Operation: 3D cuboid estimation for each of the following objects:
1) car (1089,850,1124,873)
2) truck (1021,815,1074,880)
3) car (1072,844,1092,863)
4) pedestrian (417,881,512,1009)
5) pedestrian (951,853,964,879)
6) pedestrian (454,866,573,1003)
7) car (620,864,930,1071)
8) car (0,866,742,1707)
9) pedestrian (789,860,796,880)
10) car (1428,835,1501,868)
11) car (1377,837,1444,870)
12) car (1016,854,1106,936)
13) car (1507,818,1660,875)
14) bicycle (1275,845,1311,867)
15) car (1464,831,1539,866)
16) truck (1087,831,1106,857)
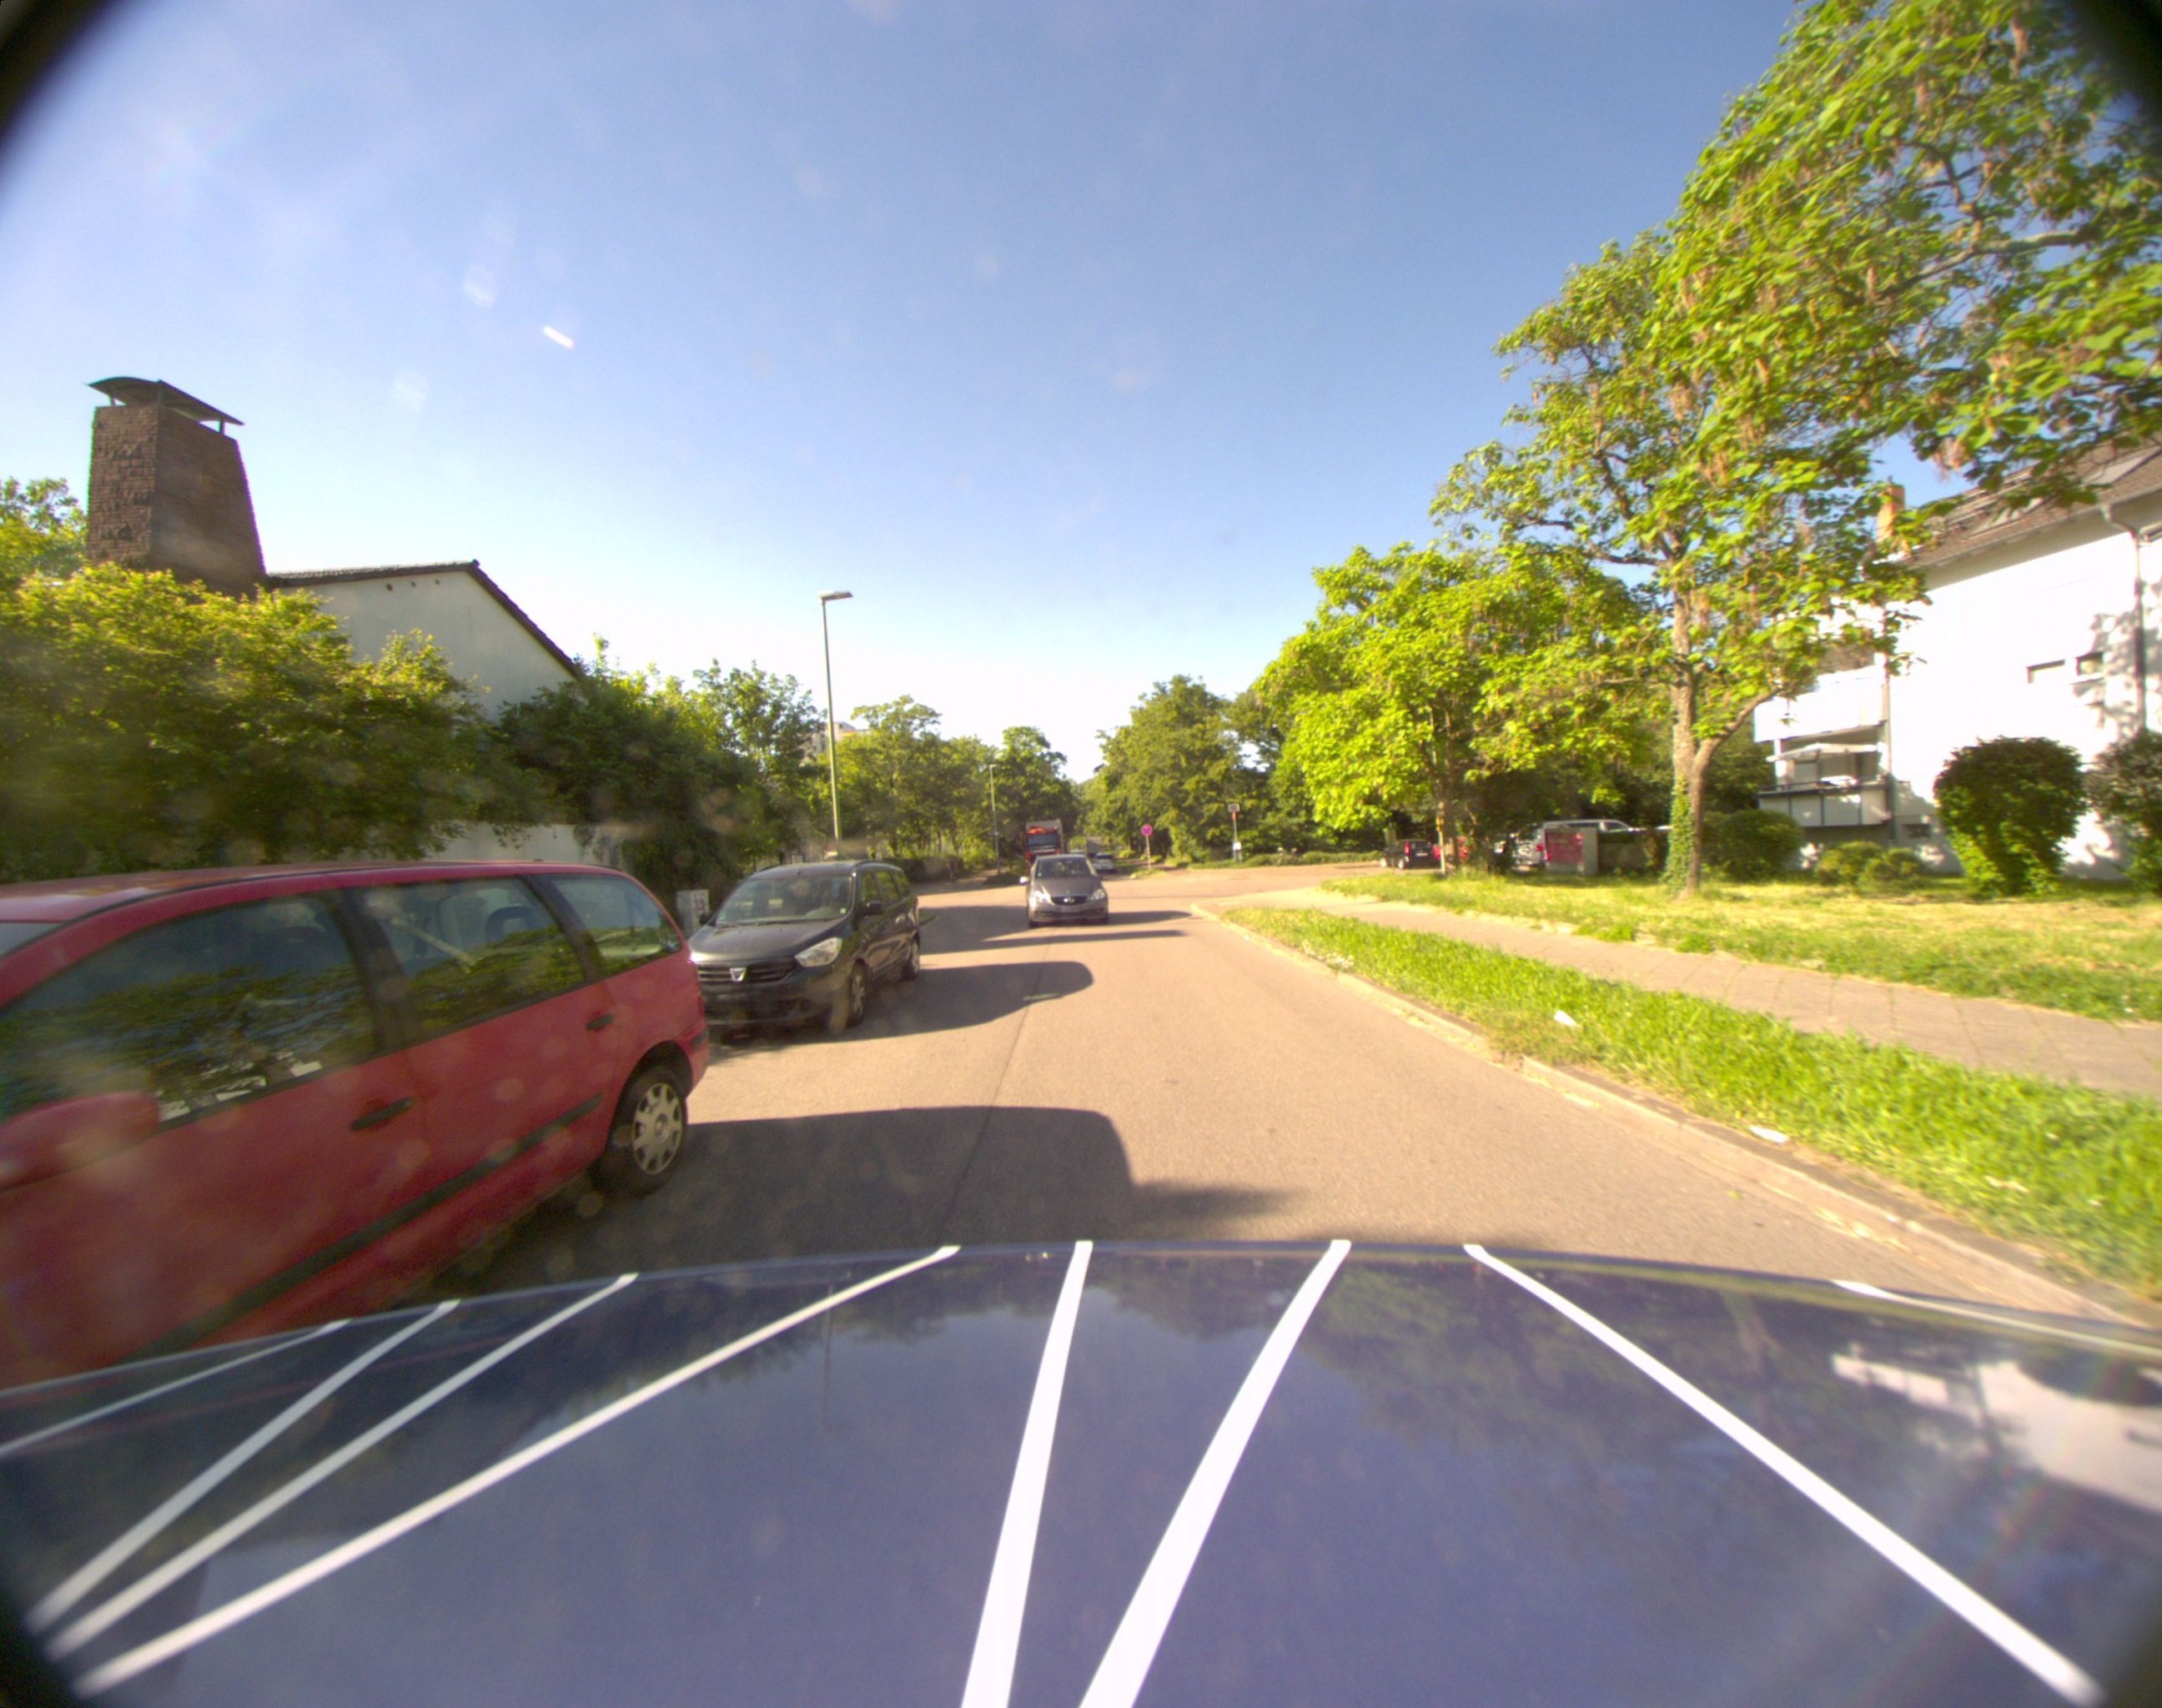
[{"bbox_3d":[1.797,0.516,54.219,1.667,1.458,4.184,-2,2,-9],"label":"car"},{"bbox_3d":[-2.320,-0.500,57.406,3.166,4.320,10.582,-3,1,1],"label":"truck"},{"bbox_3d":[0.054,-0.038,76.775,1.845,1.795,4.028,-3,1,-1],"label":"car"},{"bbox_3d":[-8.287,1.200,10.244,0.574,1.600,0.792,-1,2,-3],"label":"pedestrian"},{"bbox_3d":[-8.154,0.786,50.081,0.641,1.629,0.641,-3,1,3],"label":"pedestrian"},{"bbox_3d":[-7.579,1.038,10.209,0.806,1.707,0.983,-1,2,-3],"label":"pedestrian"},{"bbox_3d":[-3.088,1.012,8.769,1.729,1.647,4.352,-3,0,0],"label":"car"},{"bbox_3d":[-3.064,1.055,2.232,1.844,1.795,4.653,-4,1,1],"label":"car"},{"bbox_3d":[-22.960,1.252,60.438,0.320,1.527,0.393,-3,1,-4],"label":"pedestrian"},{"bbox_3d":[19.341,-0.191,38.453,1.674,1.479,3.884,-3,2,-1],"label":"car"},{"bbox_3d":[16.710,-0.081,38.691,1.674,1.479,3.884,-3,2,-1],"label":"car"},{"bbox_3d":[-0.423,0.869,18.033,1.855,1.635,3.755,-3,0,0],"label":"car"},{"bbox_3d":[19.489,-0.270,29.641,4.461,1.957,2.069,-2,0,3],"label":"car"},{"bbox_3d":[12.111,0.109,43.494,1.902,1.146,0.760,-2,4,10],"label":"bicycle"},{"bbox_3d":[21.686,-0.323,39.329,1.674,1.594,3.884,-3,2,-1],"label":"car"},{"bbox_3d":[2.443,-1.634,122.263,2.803,3.996,9.623,-1,2,1],"label":"truck"}]
